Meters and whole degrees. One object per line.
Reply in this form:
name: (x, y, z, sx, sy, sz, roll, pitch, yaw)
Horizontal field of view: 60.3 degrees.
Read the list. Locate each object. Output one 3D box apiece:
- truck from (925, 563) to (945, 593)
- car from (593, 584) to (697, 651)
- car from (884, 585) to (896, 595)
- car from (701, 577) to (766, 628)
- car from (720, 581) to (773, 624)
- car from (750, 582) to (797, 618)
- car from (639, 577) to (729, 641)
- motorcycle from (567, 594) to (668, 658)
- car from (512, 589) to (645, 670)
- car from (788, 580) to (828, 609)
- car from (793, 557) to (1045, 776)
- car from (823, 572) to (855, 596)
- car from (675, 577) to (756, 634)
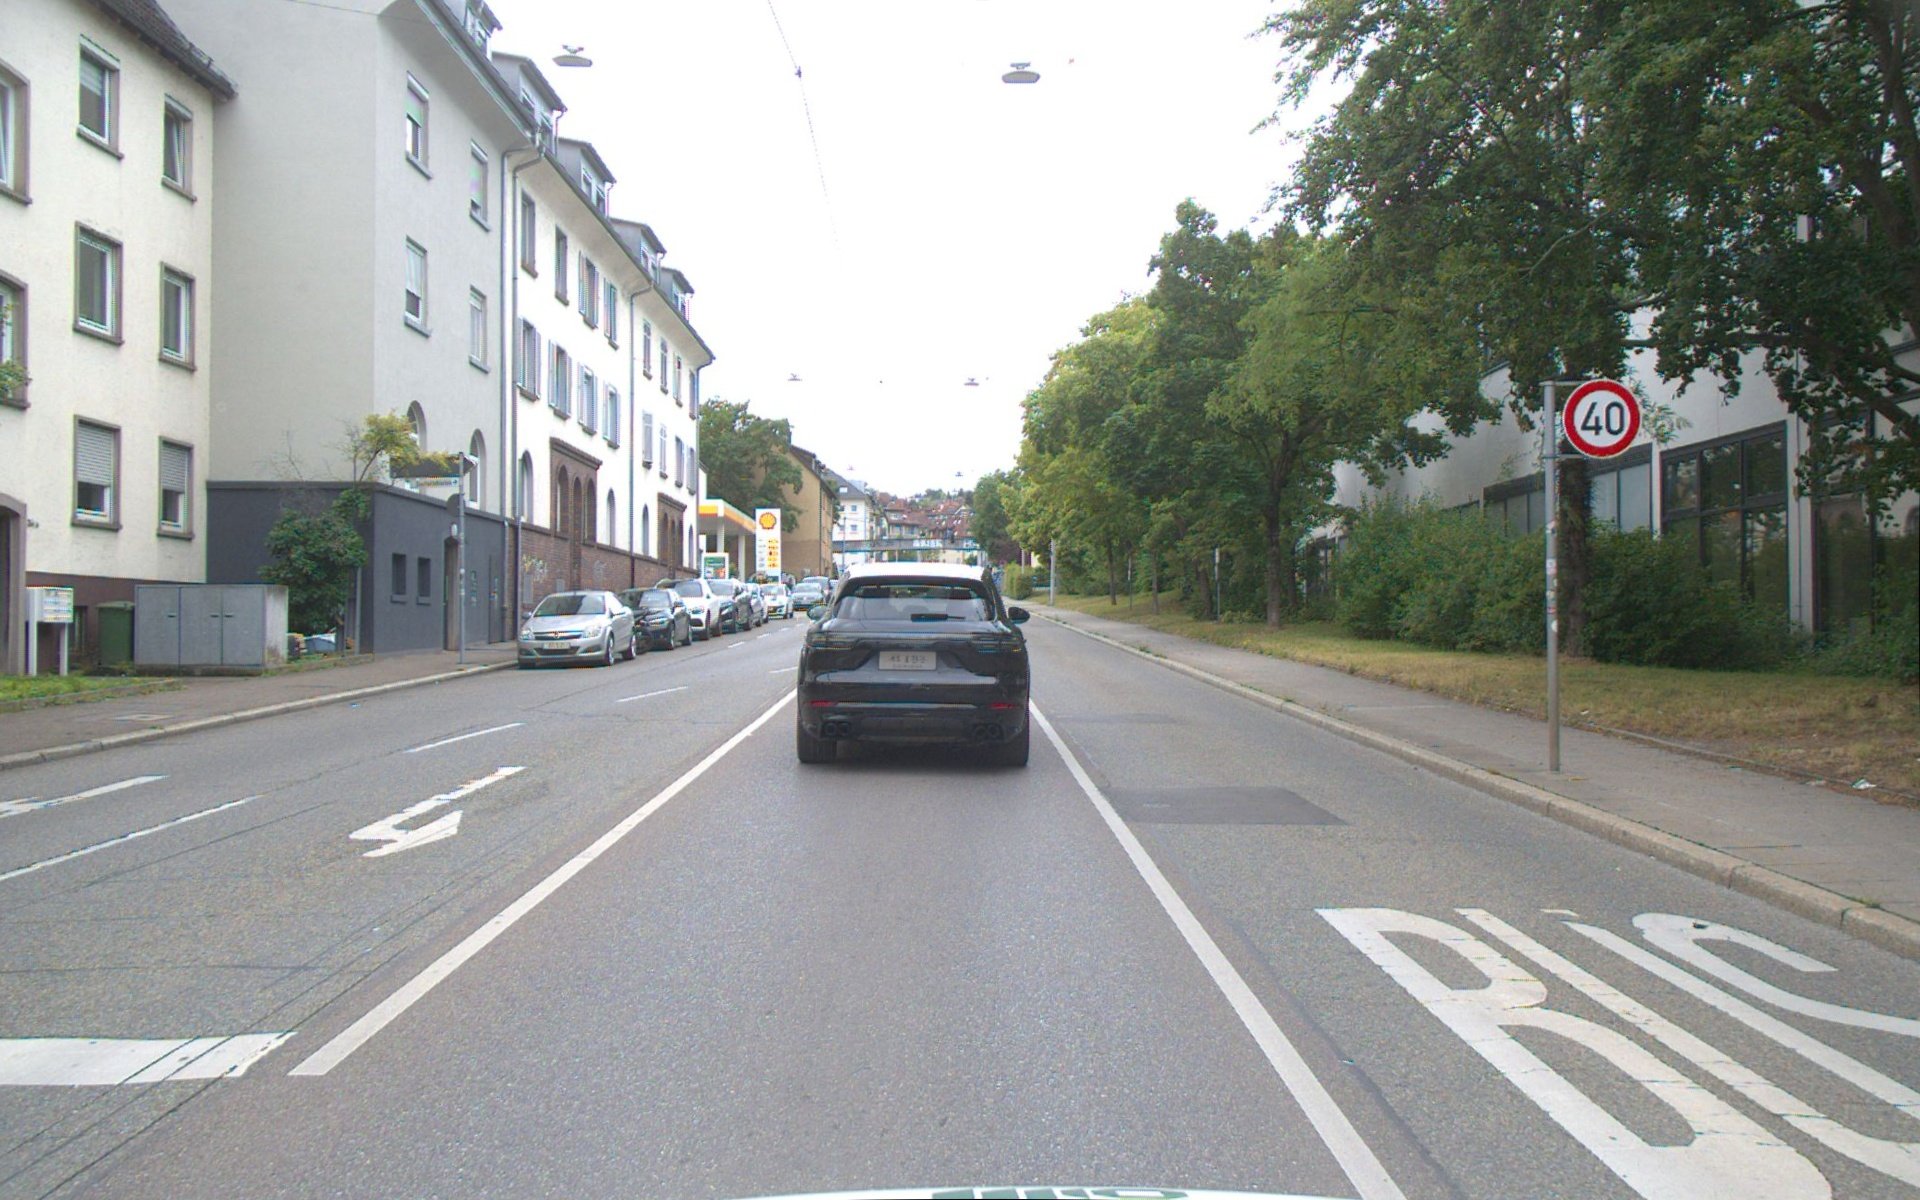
truck: (-2.872, -2.505, 191.104, 2.220, 3.484, 9.876, 0, 0, -1)
car: (-7.377, 0.373, 39.071, 1.692, 1.454, 4.191, -1, 1, -1)
car: (-10.342, -1.444, 244.462, 1.729, 1.534, 4.000, 0, 0, 0)
car: (-7.627, 0.063, 56.007, 1.692, 1.585, 4.080, -2, 1, -1)
car: (-7.839, 0.061, 60.936, 1.516, 1.501, 3.603, -1, 1, -1)
car: (-7.865, -0.040, 70.059, 1.586, 1.450, 3.665, -1, 1, 0)
car: (-7.526, 0.194, 45.539, 1.808, 1.649, 4.642, -1, 1, -2)
motorcycle: (-7.367, 0.551, 35.582, 2.009, 1.256, 0.803, -3, 1, -19)
car: (-7.273, 0.512, 31.949, 1.692, 1.398, 4.336, -1, 1, -2)
car: (-8.081, -0.289, 88.357, 1.754, 1.475, 4.217, -1, 1, -1)
car: (-0.332, 0.478, 14.901, 1.953, 1.691, 4.000, 1, 1, 0)
car: (-8.400, -1.110, 114.788, 1.876, 1.605, 4.699, -1, 1, 0)
car: (-7.422, 0.125, 50.630, 1.691, 1.627, 4.503, -1, 1, 1)
